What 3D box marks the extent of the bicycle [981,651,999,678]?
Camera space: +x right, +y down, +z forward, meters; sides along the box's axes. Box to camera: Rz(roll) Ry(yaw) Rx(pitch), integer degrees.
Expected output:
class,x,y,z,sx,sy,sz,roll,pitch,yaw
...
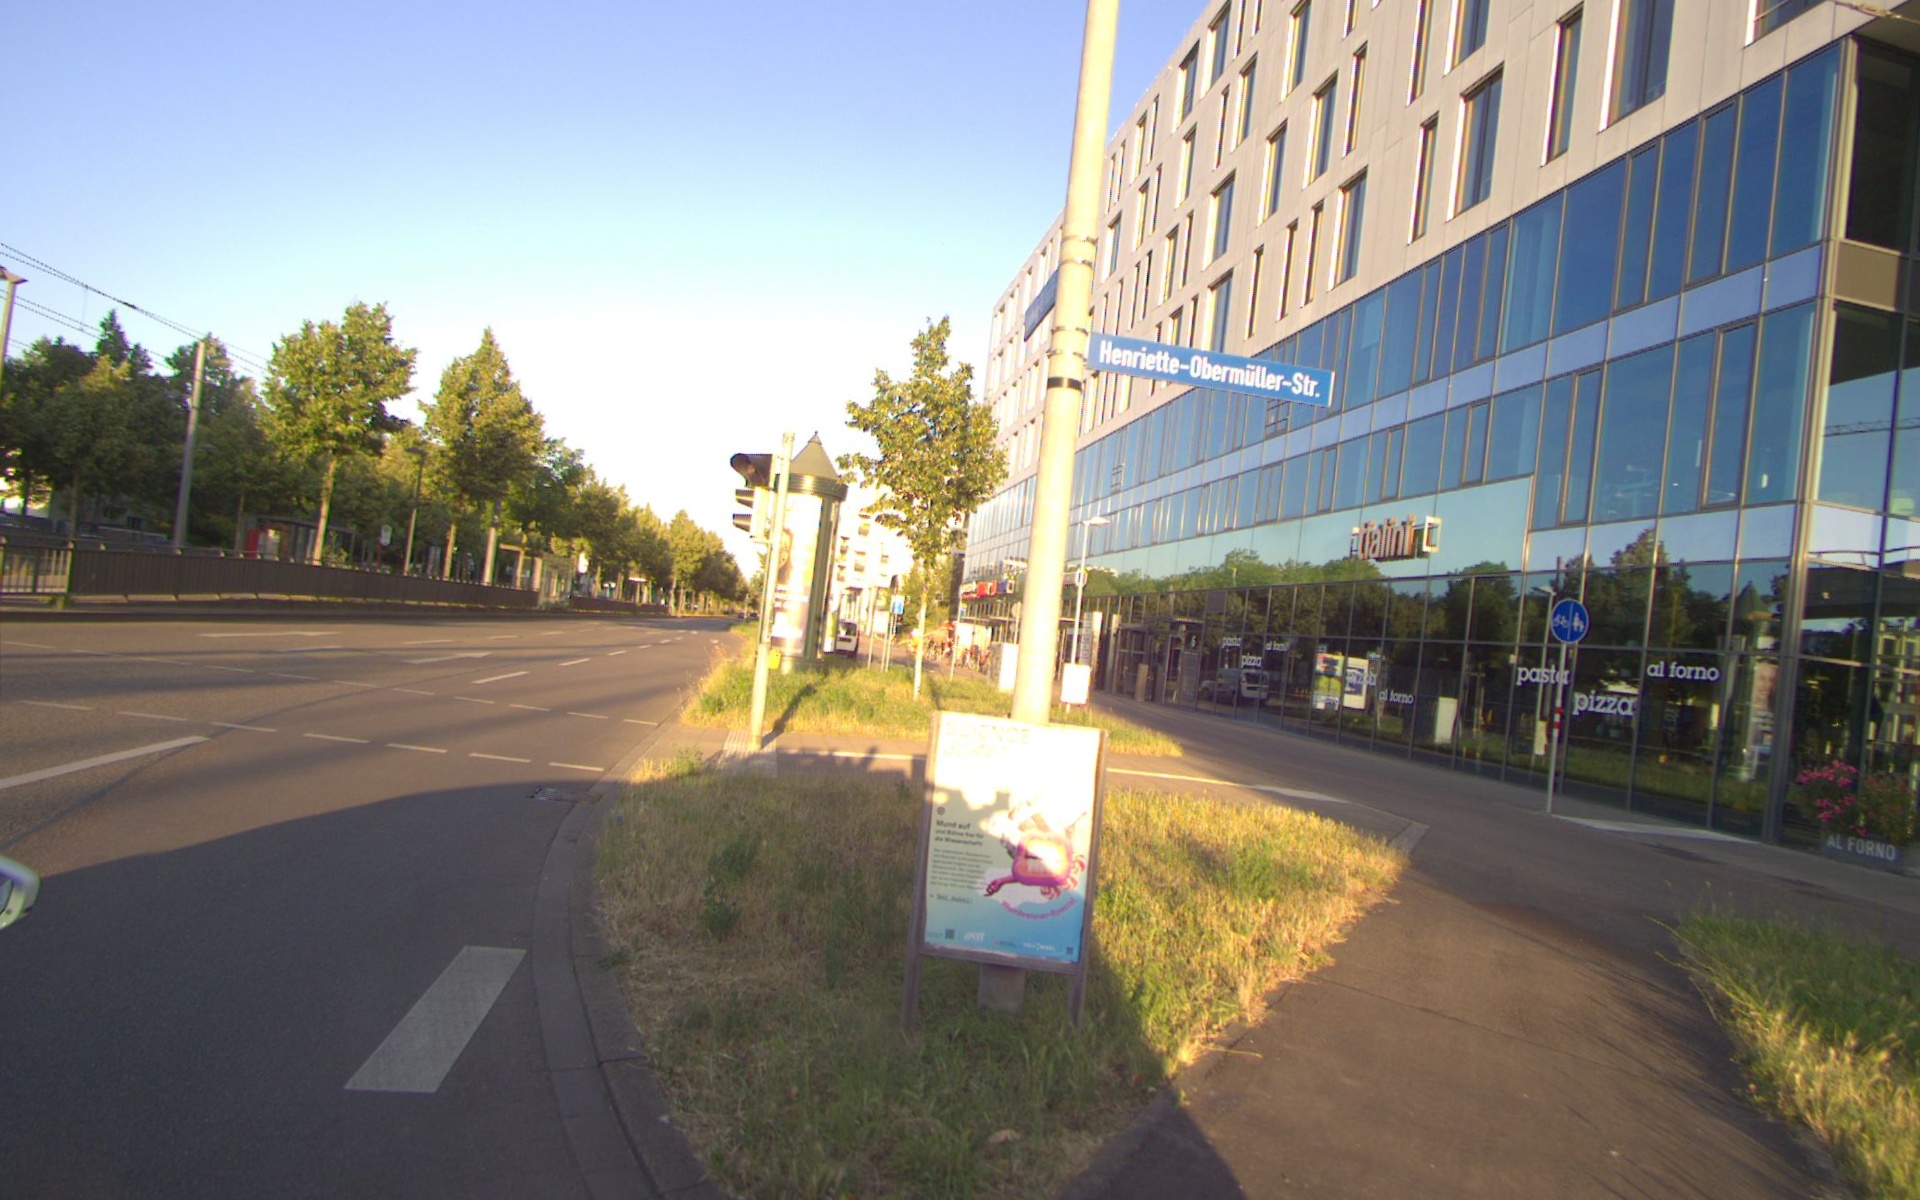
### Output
class,x,y,z,sx,sy,sz,roll,pitch,yaw
bicycle,1.367,2.951,46.190,0.625,1.080,2.123,7,-2,-1

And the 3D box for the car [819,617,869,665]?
class,x,y,z,sx,sy,sz,roll,pitch,yaw
car,-5.444,1.858,46.681,1.826,1.848,4.391,9,-3,-9

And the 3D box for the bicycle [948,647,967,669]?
class,x,y,z,sx,sy,sz,roll,pitch,yaw
bicycle,-0.154,3.152,54.724,0.625,1.080,2.121,7,-2,-7

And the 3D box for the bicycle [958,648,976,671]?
class,x,y,z,sx,sy,sz,roll,pitch,yaw
bicycle,0.360,3.089,52.194,0.625,1.080,2.122,7,-2,-6

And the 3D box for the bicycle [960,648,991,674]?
class,x,y,z,sx,sy,sz,roll,pitch,yaw
bicycle,0.756,2.981,49.027,0.628,1.080,2.113,7,-2,-21

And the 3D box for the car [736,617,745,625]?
class,x,y,z,sx,sy,sz,roll,pitch,yaw
car,-49.787,4.772,228.423,1.673,1.614,3.995,6,-2,-11

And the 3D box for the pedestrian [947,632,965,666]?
class,x,y,z,sx,sy,sz,roll,pitch,yaw
pedestrian,-0.267,3.098,63.712,0.800,2.114,1.112,5,-1,-8
